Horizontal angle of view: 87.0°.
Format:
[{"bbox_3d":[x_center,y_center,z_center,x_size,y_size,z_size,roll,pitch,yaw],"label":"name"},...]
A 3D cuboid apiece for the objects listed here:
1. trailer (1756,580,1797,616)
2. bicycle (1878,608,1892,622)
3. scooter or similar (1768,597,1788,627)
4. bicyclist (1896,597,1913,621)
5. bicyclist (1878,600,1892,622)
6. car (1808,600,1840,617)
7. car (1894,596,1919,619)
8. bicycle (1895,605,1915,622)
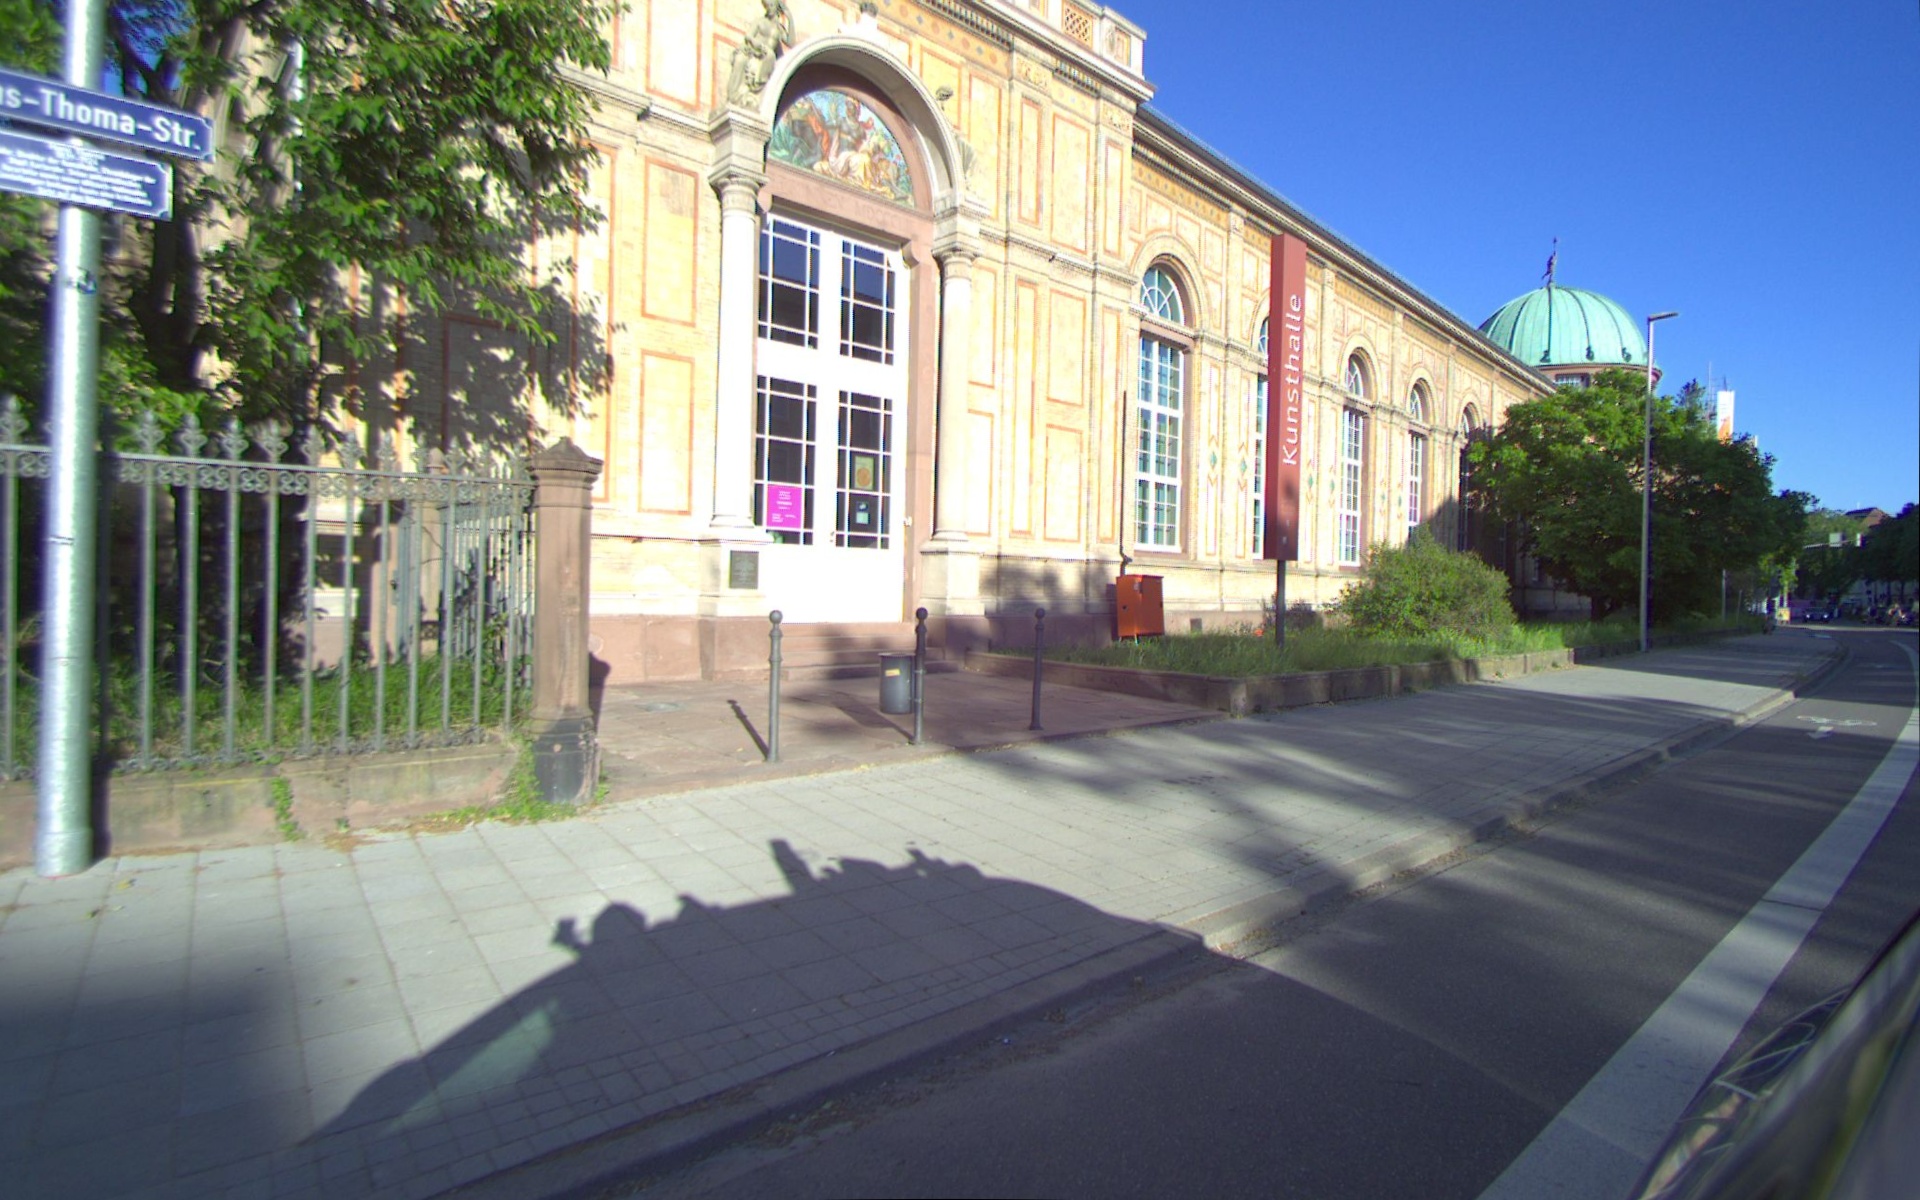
[{"bbox_3d":[62.145,-0.131,77.092,2.075,2.559,4.432,4,2,37],"label":"trailer"},{"bbox_3d":[72.825,1.178,79.682,0.667,1.086,1.730,1,0,36],"label":"bicycle"},{"bbox_3d":[37.567,0.534,46.469,0.555,1.325,1.803,2,1,43],"label":"scooter or similar"},{"bbox_3d":[67.046,0.632,71.834,0.801,1.628,0.813,2,1,38],"label":"bicyclist"},{"bbox_3d":[72.850,0.861,79.710,0.670,1.673,0.876,1,0,36],"label":"bicyclist"},{"bbox_3d":[76.510,0.715,89.646,1.544,1.311,3.596,5,4,32],"label":"car"},{"bbox_3d":[75.528,0.618,79.707,1.983,1.771,4.691,2,1,33],"label":"car"},{"bbox_3d":[66.911,0.939,71.683,0.827,1.157,1.943,1,1,38],"label":"bicycle"}]
